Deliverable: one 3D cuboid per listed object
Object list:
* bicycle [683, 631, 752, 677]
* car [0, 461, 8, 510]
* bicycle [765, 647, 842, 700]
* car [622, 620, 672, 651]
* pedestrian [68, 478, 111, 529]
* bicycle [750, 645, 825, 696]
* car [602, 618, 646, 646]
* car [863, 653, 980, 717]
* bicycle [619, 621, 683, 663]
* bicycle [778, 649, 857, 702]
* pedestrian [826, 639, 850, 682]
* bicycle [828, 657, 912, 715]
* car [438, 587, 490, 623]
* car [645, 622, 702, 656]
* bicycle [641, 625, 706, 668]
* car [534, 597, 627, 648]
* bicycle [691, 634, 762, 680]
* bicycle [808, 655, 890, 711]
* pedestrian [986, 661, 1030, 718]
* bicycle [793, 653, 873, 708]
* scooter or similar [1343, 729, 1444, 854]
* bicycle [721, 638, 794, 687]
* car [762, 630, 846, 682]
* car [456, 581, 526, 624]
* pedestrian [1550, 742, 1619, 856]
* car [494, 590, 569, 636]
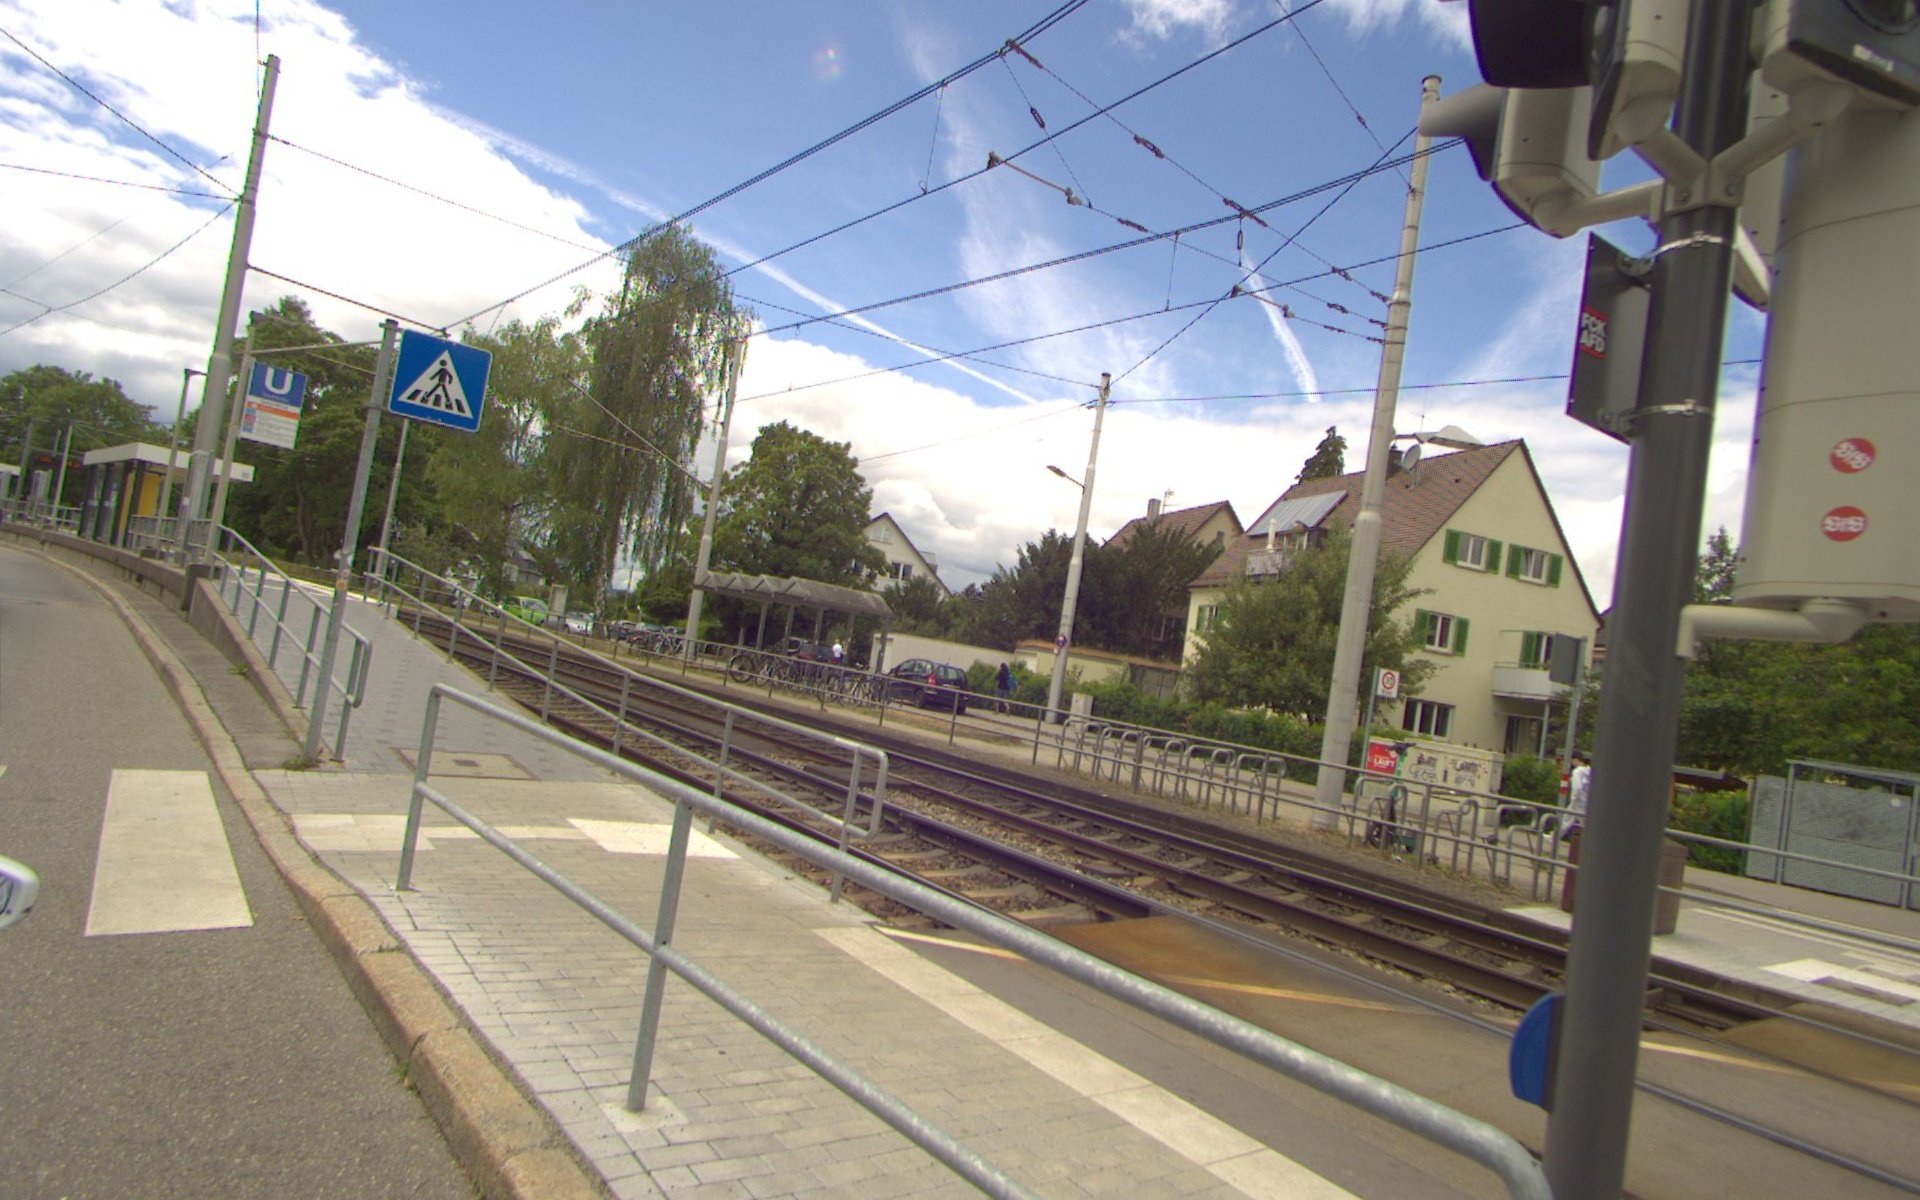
[{"bbox_3d":[-7.026,1.576,29.151,1.759,1.052,0.551,12,-4,-39],"label":"bicycle"},{"bbox_3d":[-14.063,-1.008,13.016,2.114,2.156,5.377,13,-5,-42],"label":"car"},{"bbox_3d":[-3.927,1.862,25.316,1.759,1.052,0.551,12,-4,-39],"label":"bicycle"},{"bbox_3d":[-19.814,2.214,63.579,1.746,1.504,4.661,10,-5,-32],"label":"car"},{"bbox_3d":[-32.104,-3.571,37.098,0.897,1.688,0.886,6,-4,42],"label":"pedestrian"},{"bbox_3d":[-4.447,1.823,26.040,1.759,1.052,0.551,12,-4,-39],"label":"bicycle"},{"bbox_3d":[-22.874,2.163,68.446,1.747,1.504,3.868,10,-5,-34],"label":"car"},{"bbox_3d":[-1.377,2.814,33.970,1.806,1.501,4.386,11,-4,-32],"label":"car"},{"bbox_3d":[-9.575,1.316,31.235,0.549,1.052,1.766,6,-5,40],"label":"bicycle"},{"bbox_3d":[-3.487,1.868,24.764,1.759,1.052,0.551,12,-4,-39],"label":"bicycle"},{"bbox_3d":[-5.465,2.710,45.099,0.813,1.790,0.684,9,-3,-5],"label":"pedestrian"},{"bbox_3d":[-2.030,1.963,22.788,1.759,1.052,0.551,12,-4,-39],"label":"bicycle"},{"bbox_3d":[-26.897,0.249,54.495,1.831,1.503,4.463,11,-4,-33],"label":"car"},{"bbox_3d":[-16.810,2.254,58.772,1.746,1.504,4.891,10,-5,-32],"label":"car"},{"bbox_3d":[-8.803,1.428,30.959,0.549,1.052,1.765,6,-5,42],"label":"bicycle"},{"bbox_3d":[-16.387,0.934,43.334,4.207,1.590,2.061,5,-5,45],"label":"car"},{"bbox_3d":[-6.632,1.630,28.616,1.759,1.052,0.551,12,-4,-39],"label":"bicycle"},{"bbox_3d":[-2.585,1.947,23.490,1.759,1.052,0.551,12,-4,-39],"label":"bicycle"},{"bbox_3d":[1.598,2.993,33.617,0.937,1.703,0.807,6,-4,45],"label":"pedestrian"},{"bbox_3d":[-3.024,1.922,24.050,1.759,1.052,0.551,12,-4,-39],"label":"bicycle"},{"bbox_3d":[5.104,2.259,11.822,1.043,1.330,0.484,11,-2,-37],"label":"scooter or similar"},{"bbox_3d":[-5.474,1.699,27.260,1.759,1.052,0.551,12,-4,-39],"label":"bicycle"},{"bbox_3d":[-6.730,2.353,42.986,1.803,1.653,4.806,11,-4,-29],"label":"car"},{"bbox_3d":[-23.495,0.108,50.321,4.048,1.590,1.755,5,-5,45],"label":"car"},{"bbox_3d":[11.663,3.697,18.814,0.816,1.936,0.626,8,-2,28],"label":"pedestrian"},{"bbox_3d":[-19.992,0.580,46.856,3.950,1.590,1.728,5,-5,45],"label":"car"}]
